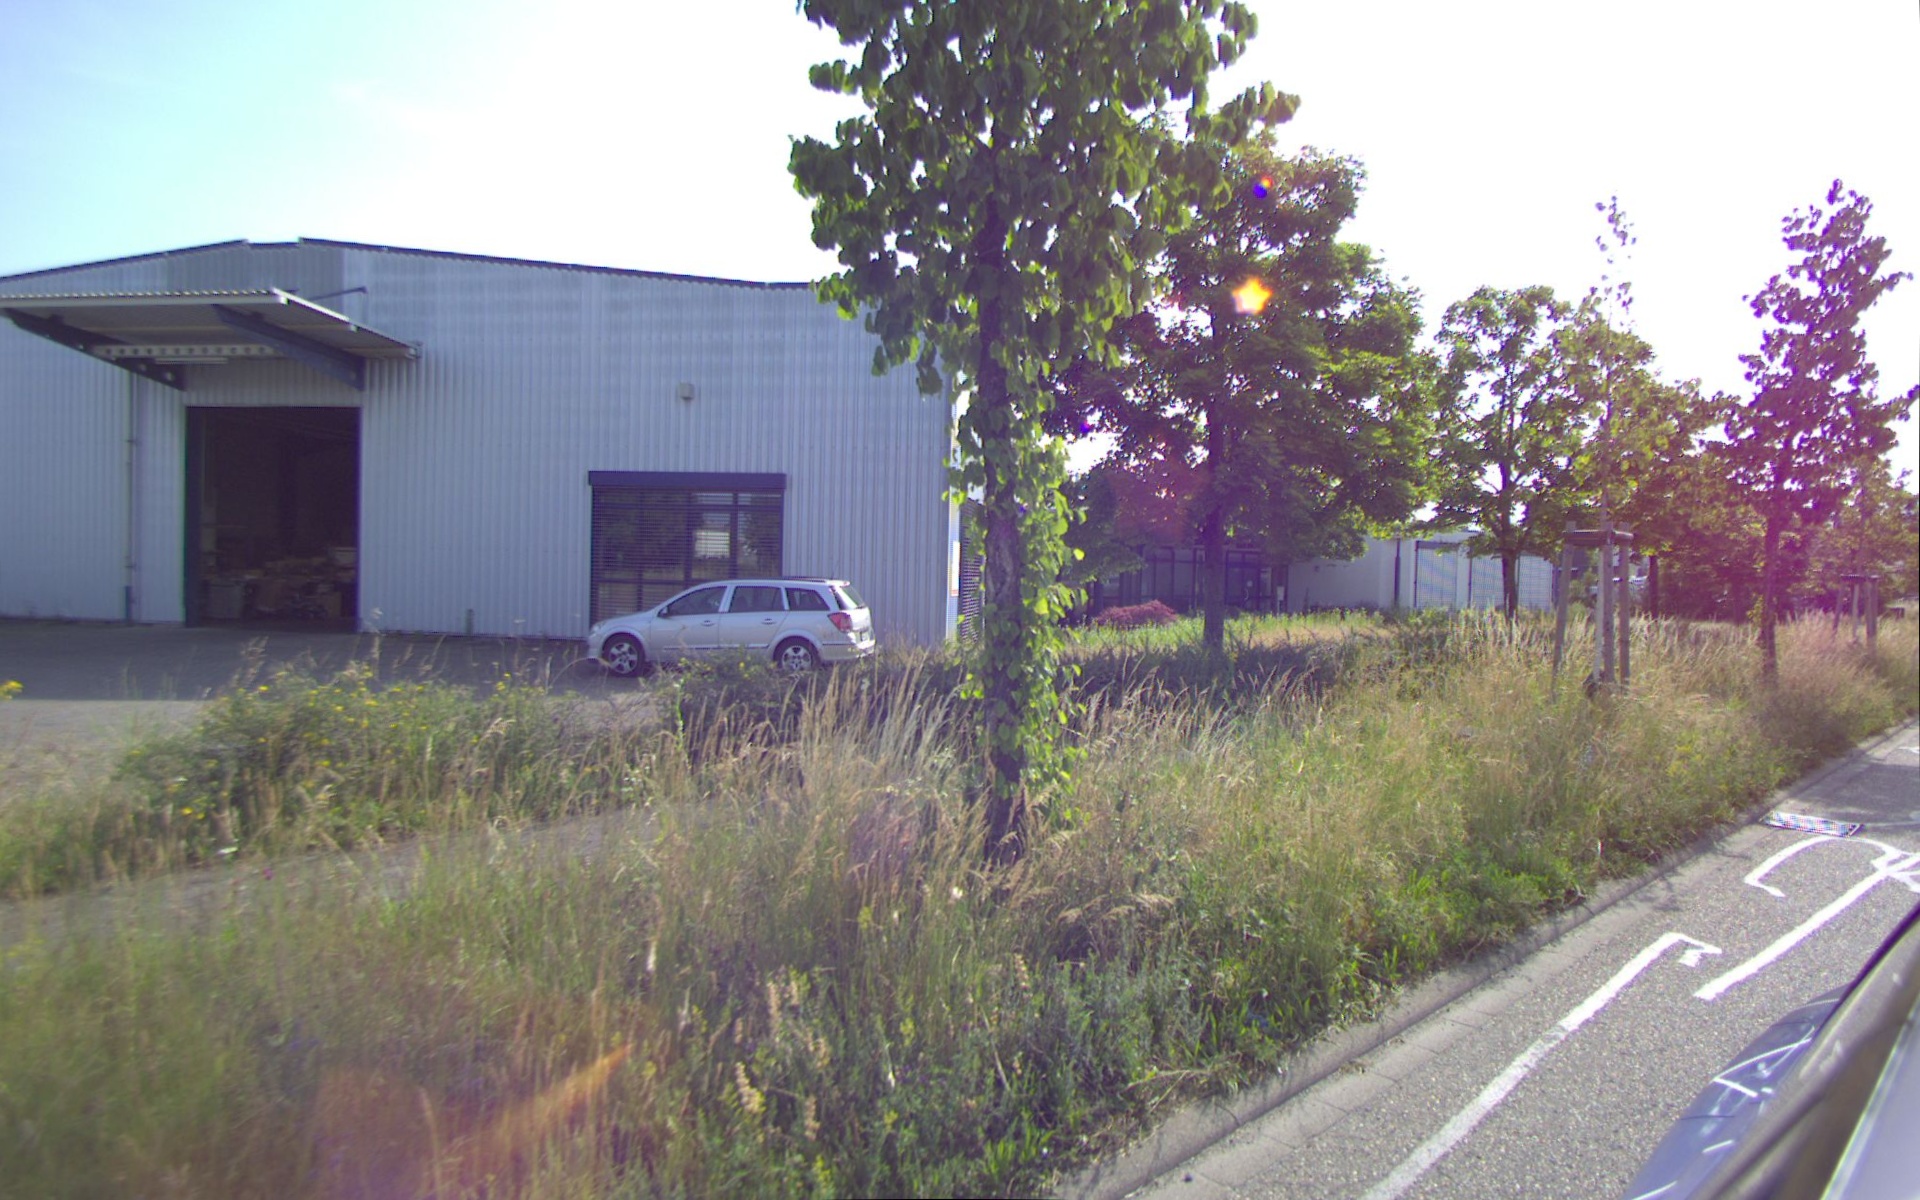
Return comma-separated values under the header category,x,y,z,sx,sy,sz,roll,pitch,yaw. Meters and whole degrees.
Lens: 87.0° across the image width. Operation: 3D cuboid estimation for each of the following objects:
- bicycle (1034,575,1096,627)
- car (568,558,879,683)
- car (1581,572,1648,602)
category,x,y,z,sx,sy,sz,roll,pitch,yaw
bicycle,3.154,0.030,30.200,0.803,1.489,2.250,-1,0,36
car,-3.514,0.246,15.416,4.284,1.581,1.758,2,4,6
car,38.488,-0.787,59.528,3.679,1.703,1.603,-1,0,-25
